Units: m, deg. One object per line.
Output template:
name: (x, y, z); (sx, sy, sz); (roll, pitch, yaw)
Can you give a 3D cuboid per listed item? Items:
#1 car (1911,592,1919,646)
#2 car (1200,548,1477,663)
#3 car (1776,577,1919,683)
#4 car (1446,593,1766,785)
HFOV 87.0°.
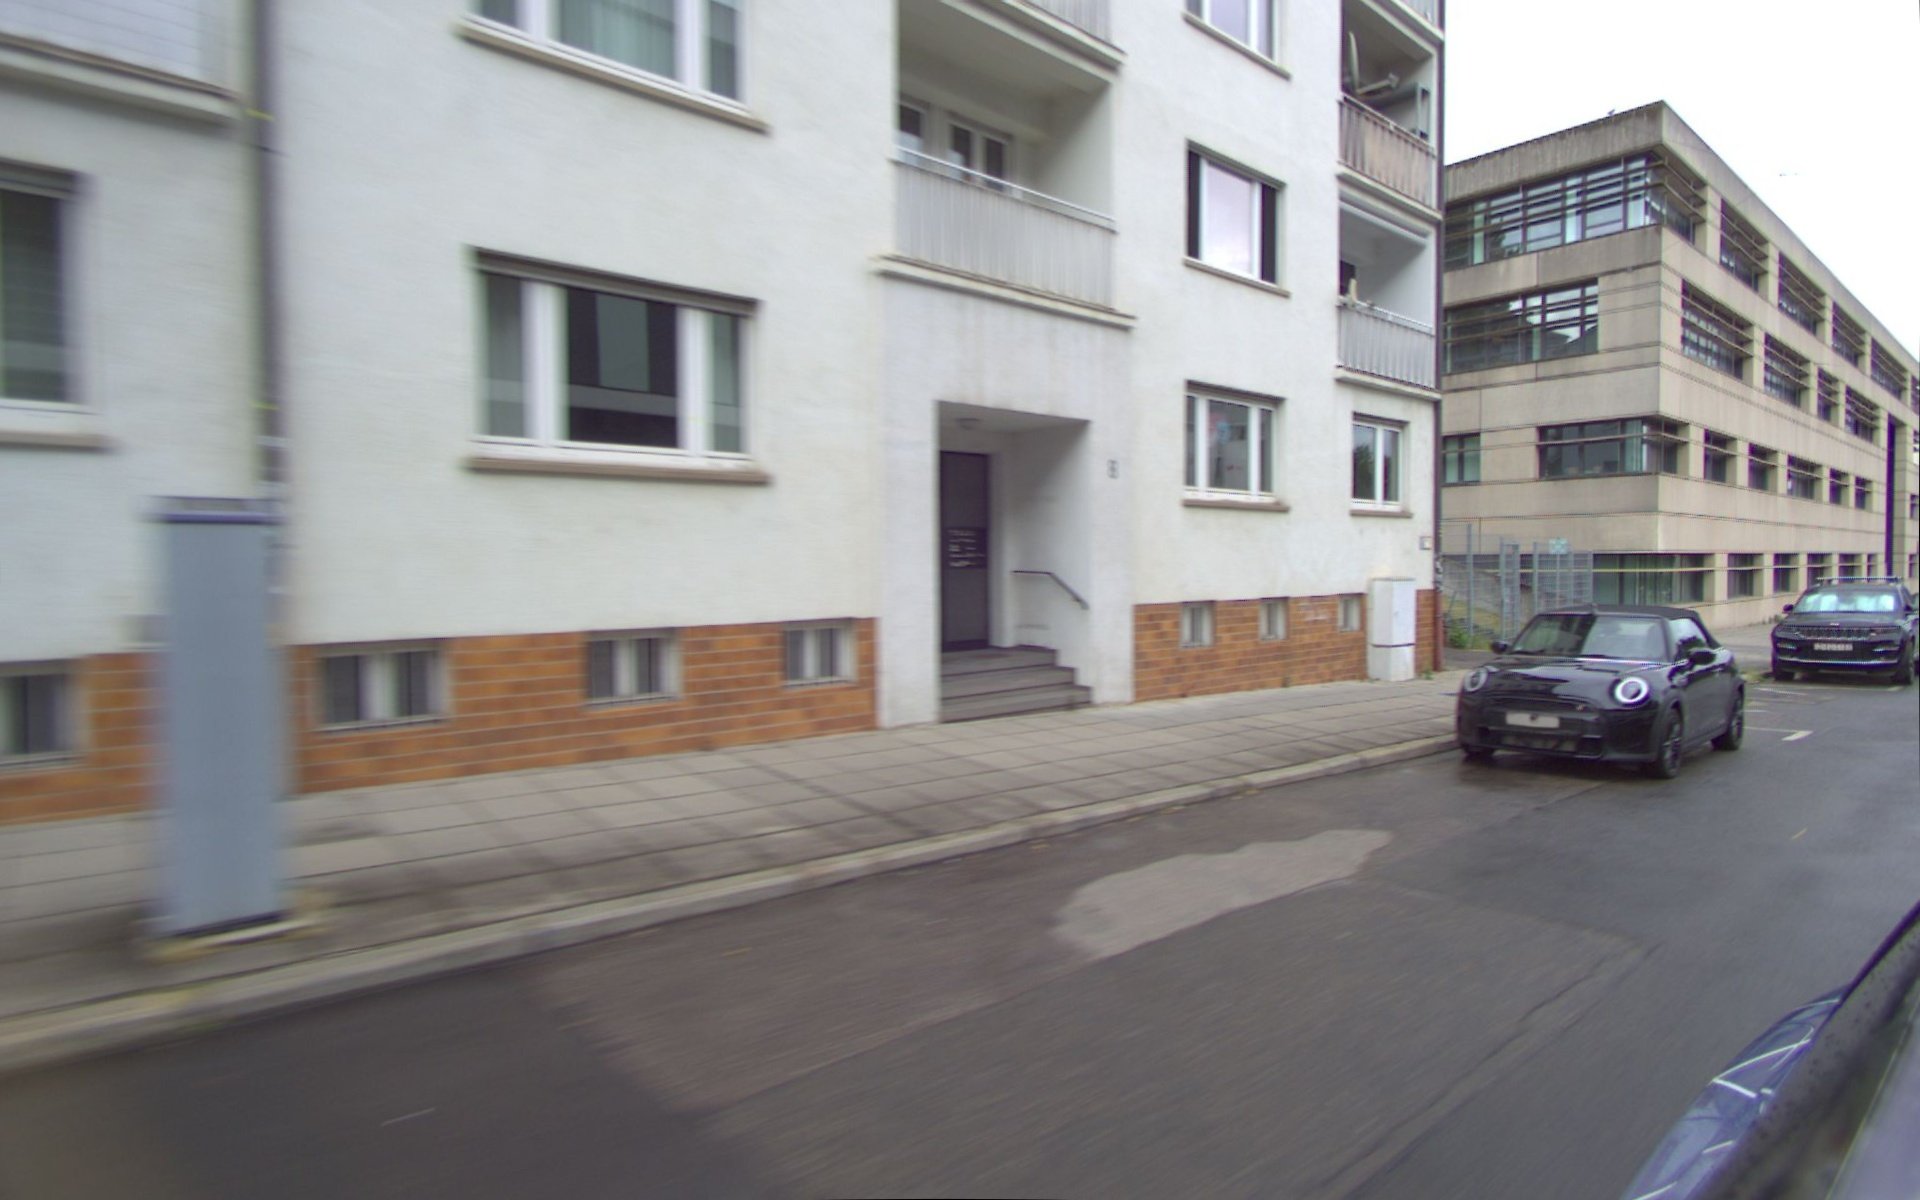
car: (29.830, 0.567, 30.238); (4.245, 1.552, 1.746); (0, 1, -42)
car: (6.939, 0.005, 18.954); (1.872, 1.733, 4.448); (0, 4, -41)
car: (17.292, 0.486, 19.288); (4.713, 1.772, 1.939); (0, 0, -41)
car: (6.376, 0.692, 9.840); (3.699, 1.478, 1.676); (-1, 1, -41)
